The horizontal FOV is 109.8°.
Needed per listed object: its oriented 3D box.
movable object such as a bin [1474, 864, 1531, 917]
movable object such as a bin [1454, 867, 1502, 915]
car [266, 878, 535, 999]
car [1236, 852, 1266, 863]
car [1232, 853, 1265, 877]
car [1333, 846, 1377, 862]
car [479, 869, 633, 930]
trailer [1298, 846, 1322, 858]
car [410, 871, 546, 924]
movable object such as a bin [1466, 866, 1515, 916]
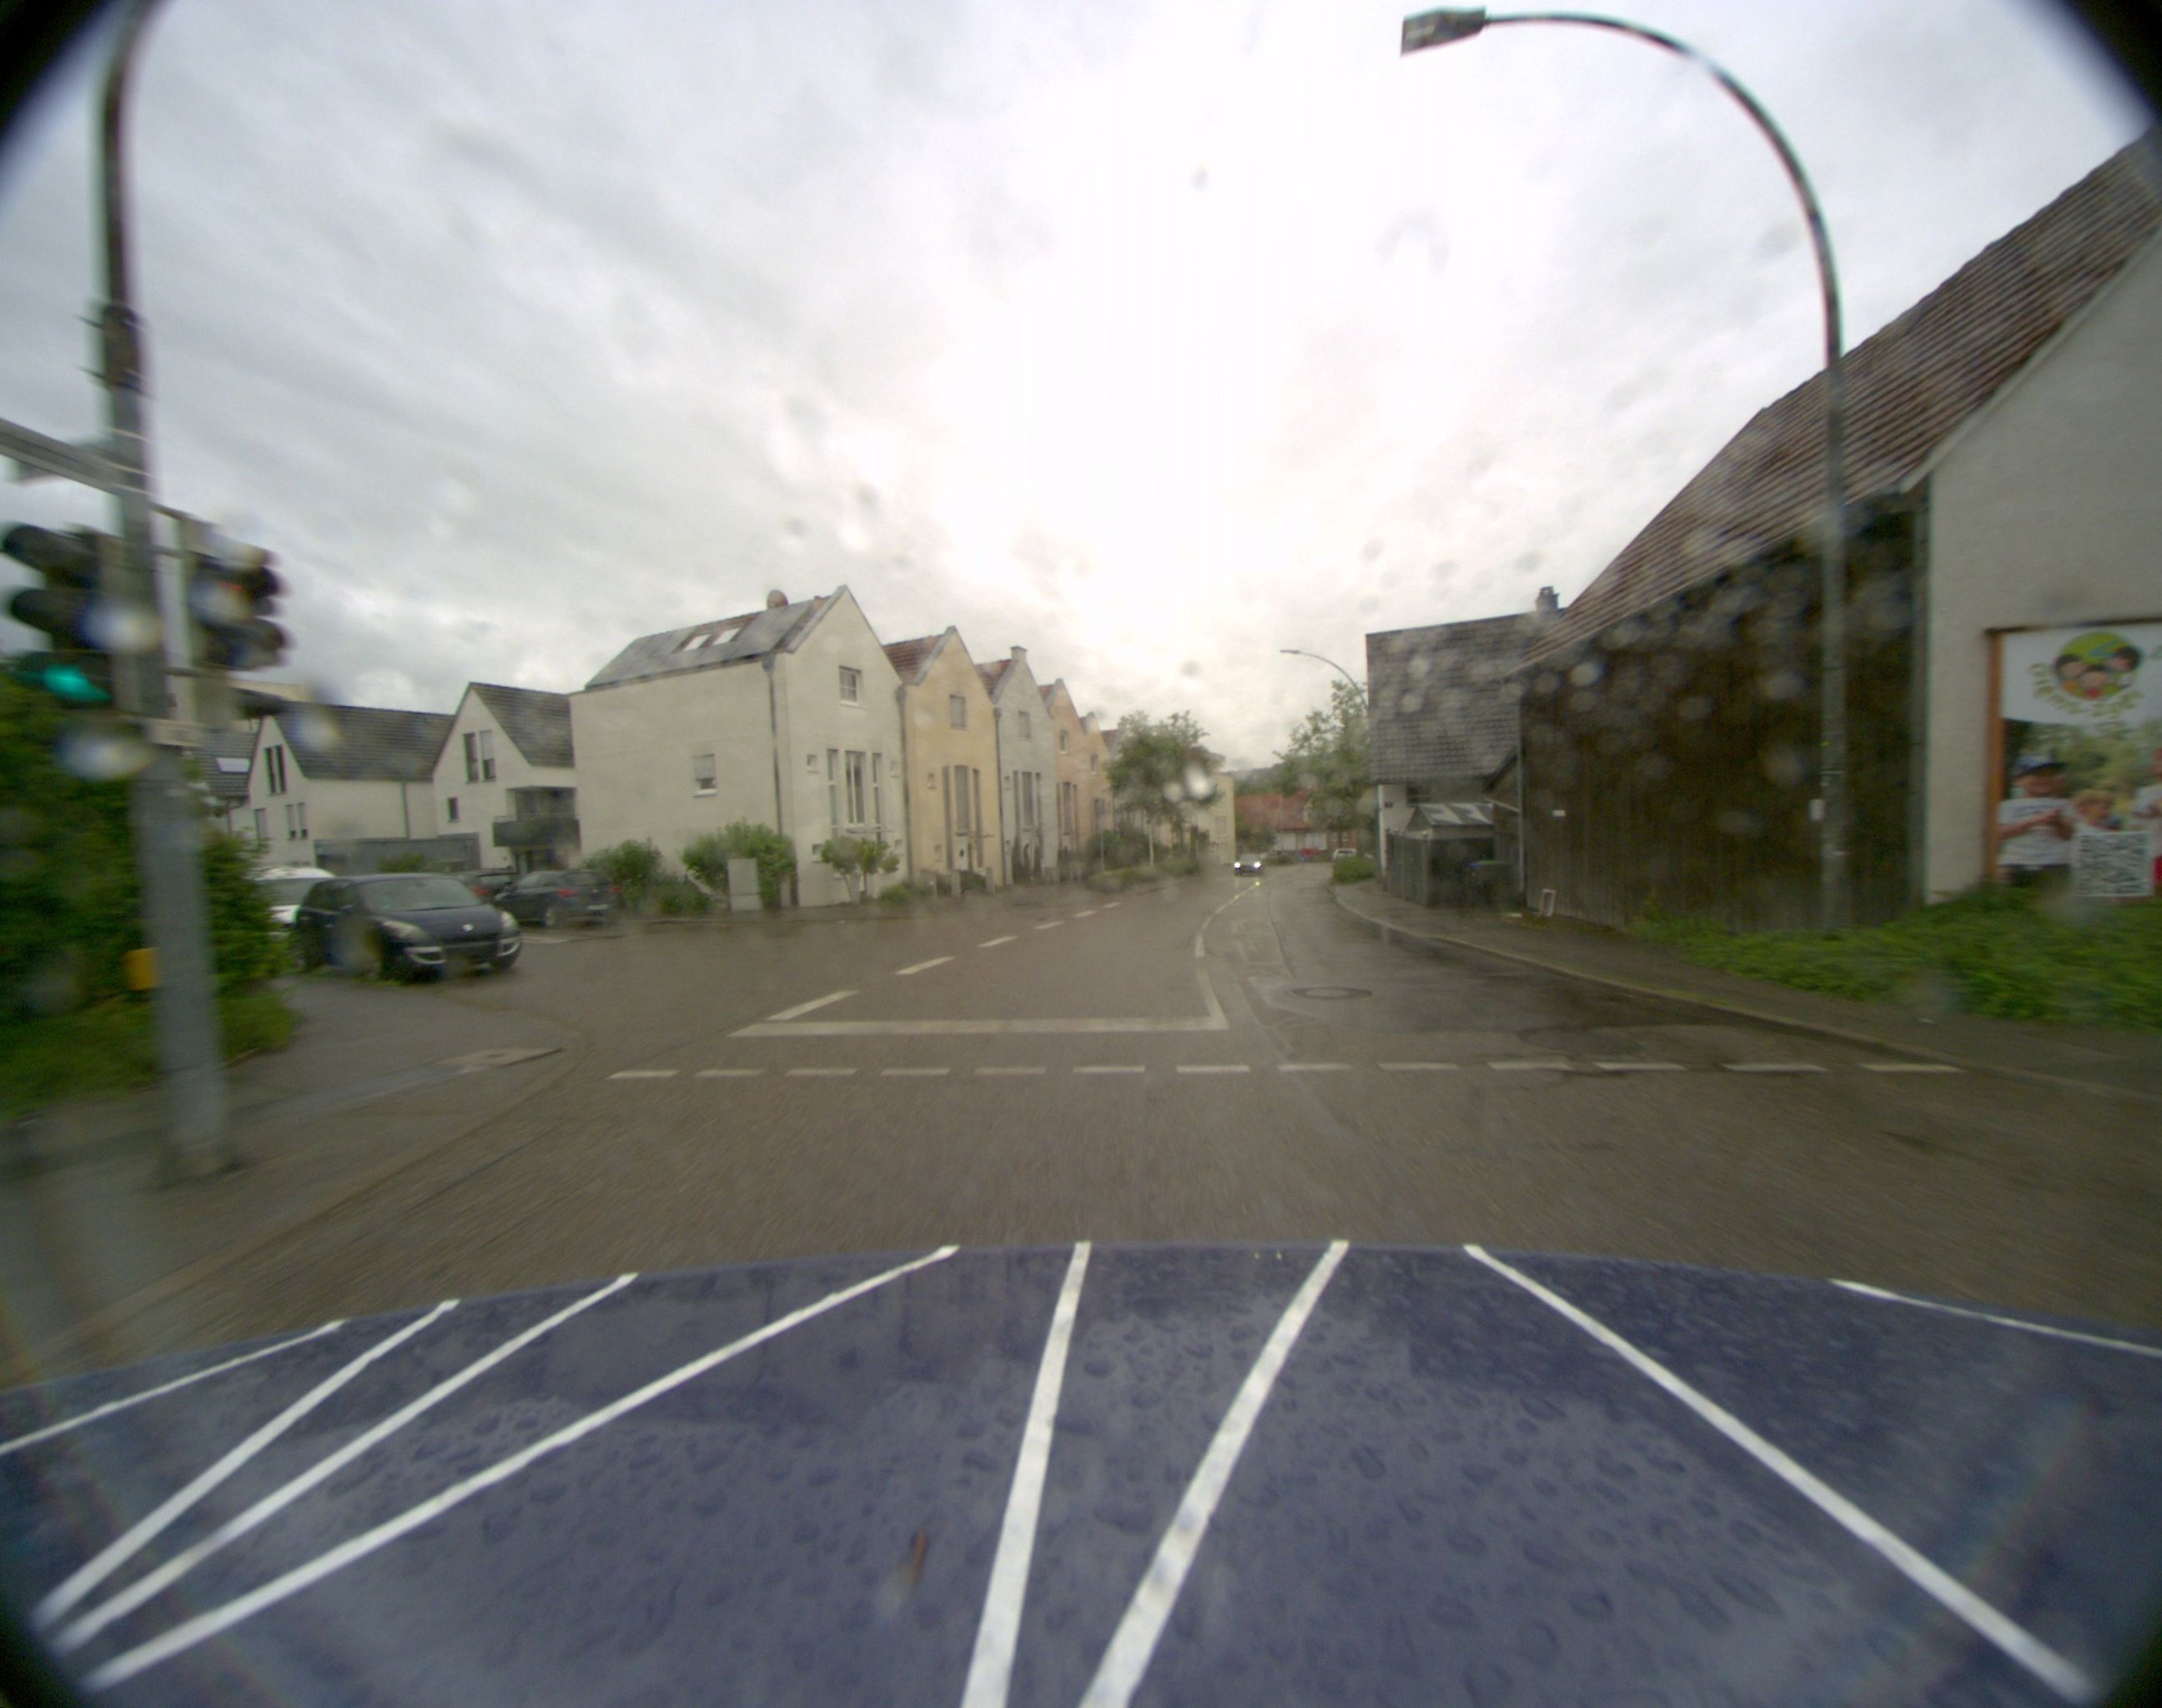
[{"bbox_3d":[9.061,0.780,16.363,0.899,1.071,0.652,-3,1,13],"label":"movable object such as a bin"},{"bbox_3d":[9.245,0.863,17.714,0.837,1.052,0.612,-2,1,13],"label":"movable object such as a bin"},{"bbox_3d":[-11.080,1.241,12.343,4.135,1.576,1.867,-1,2,28],"label":"car"},{"bbox_3d":[23.300,0.491,104.199,4.007,1.368,1.875,-2,1,-35],"label":"car"},{"bbox_3d":[11.992,0.754,54.233,1.996,1.521,4.004,-1,1,16],"label":"car"},{"bbox_3d":[28.603,0.017,79.470,1.760,1.527,4.139,-3,1,-31],"label":"car"},{"bbox_3d":[-14.031,1.182,20.307,3.725,1.398,1.807,-2,1,28],"label":"car"},{"bbox_3d":[31.340,-0.288,104.093,1.415,1.640,2.717,-2,1,-45],"label":"trailer"},{"bbox_3d":[-18.098,1.290,22.796,3.705,1.392,1.795,-2,1,28],"label":"car"},{"bbox_3d":[9.176,0.819,17.050,0.818,1.055,0.597,-2,1,13],"label":"movable object such as a bin"}]
